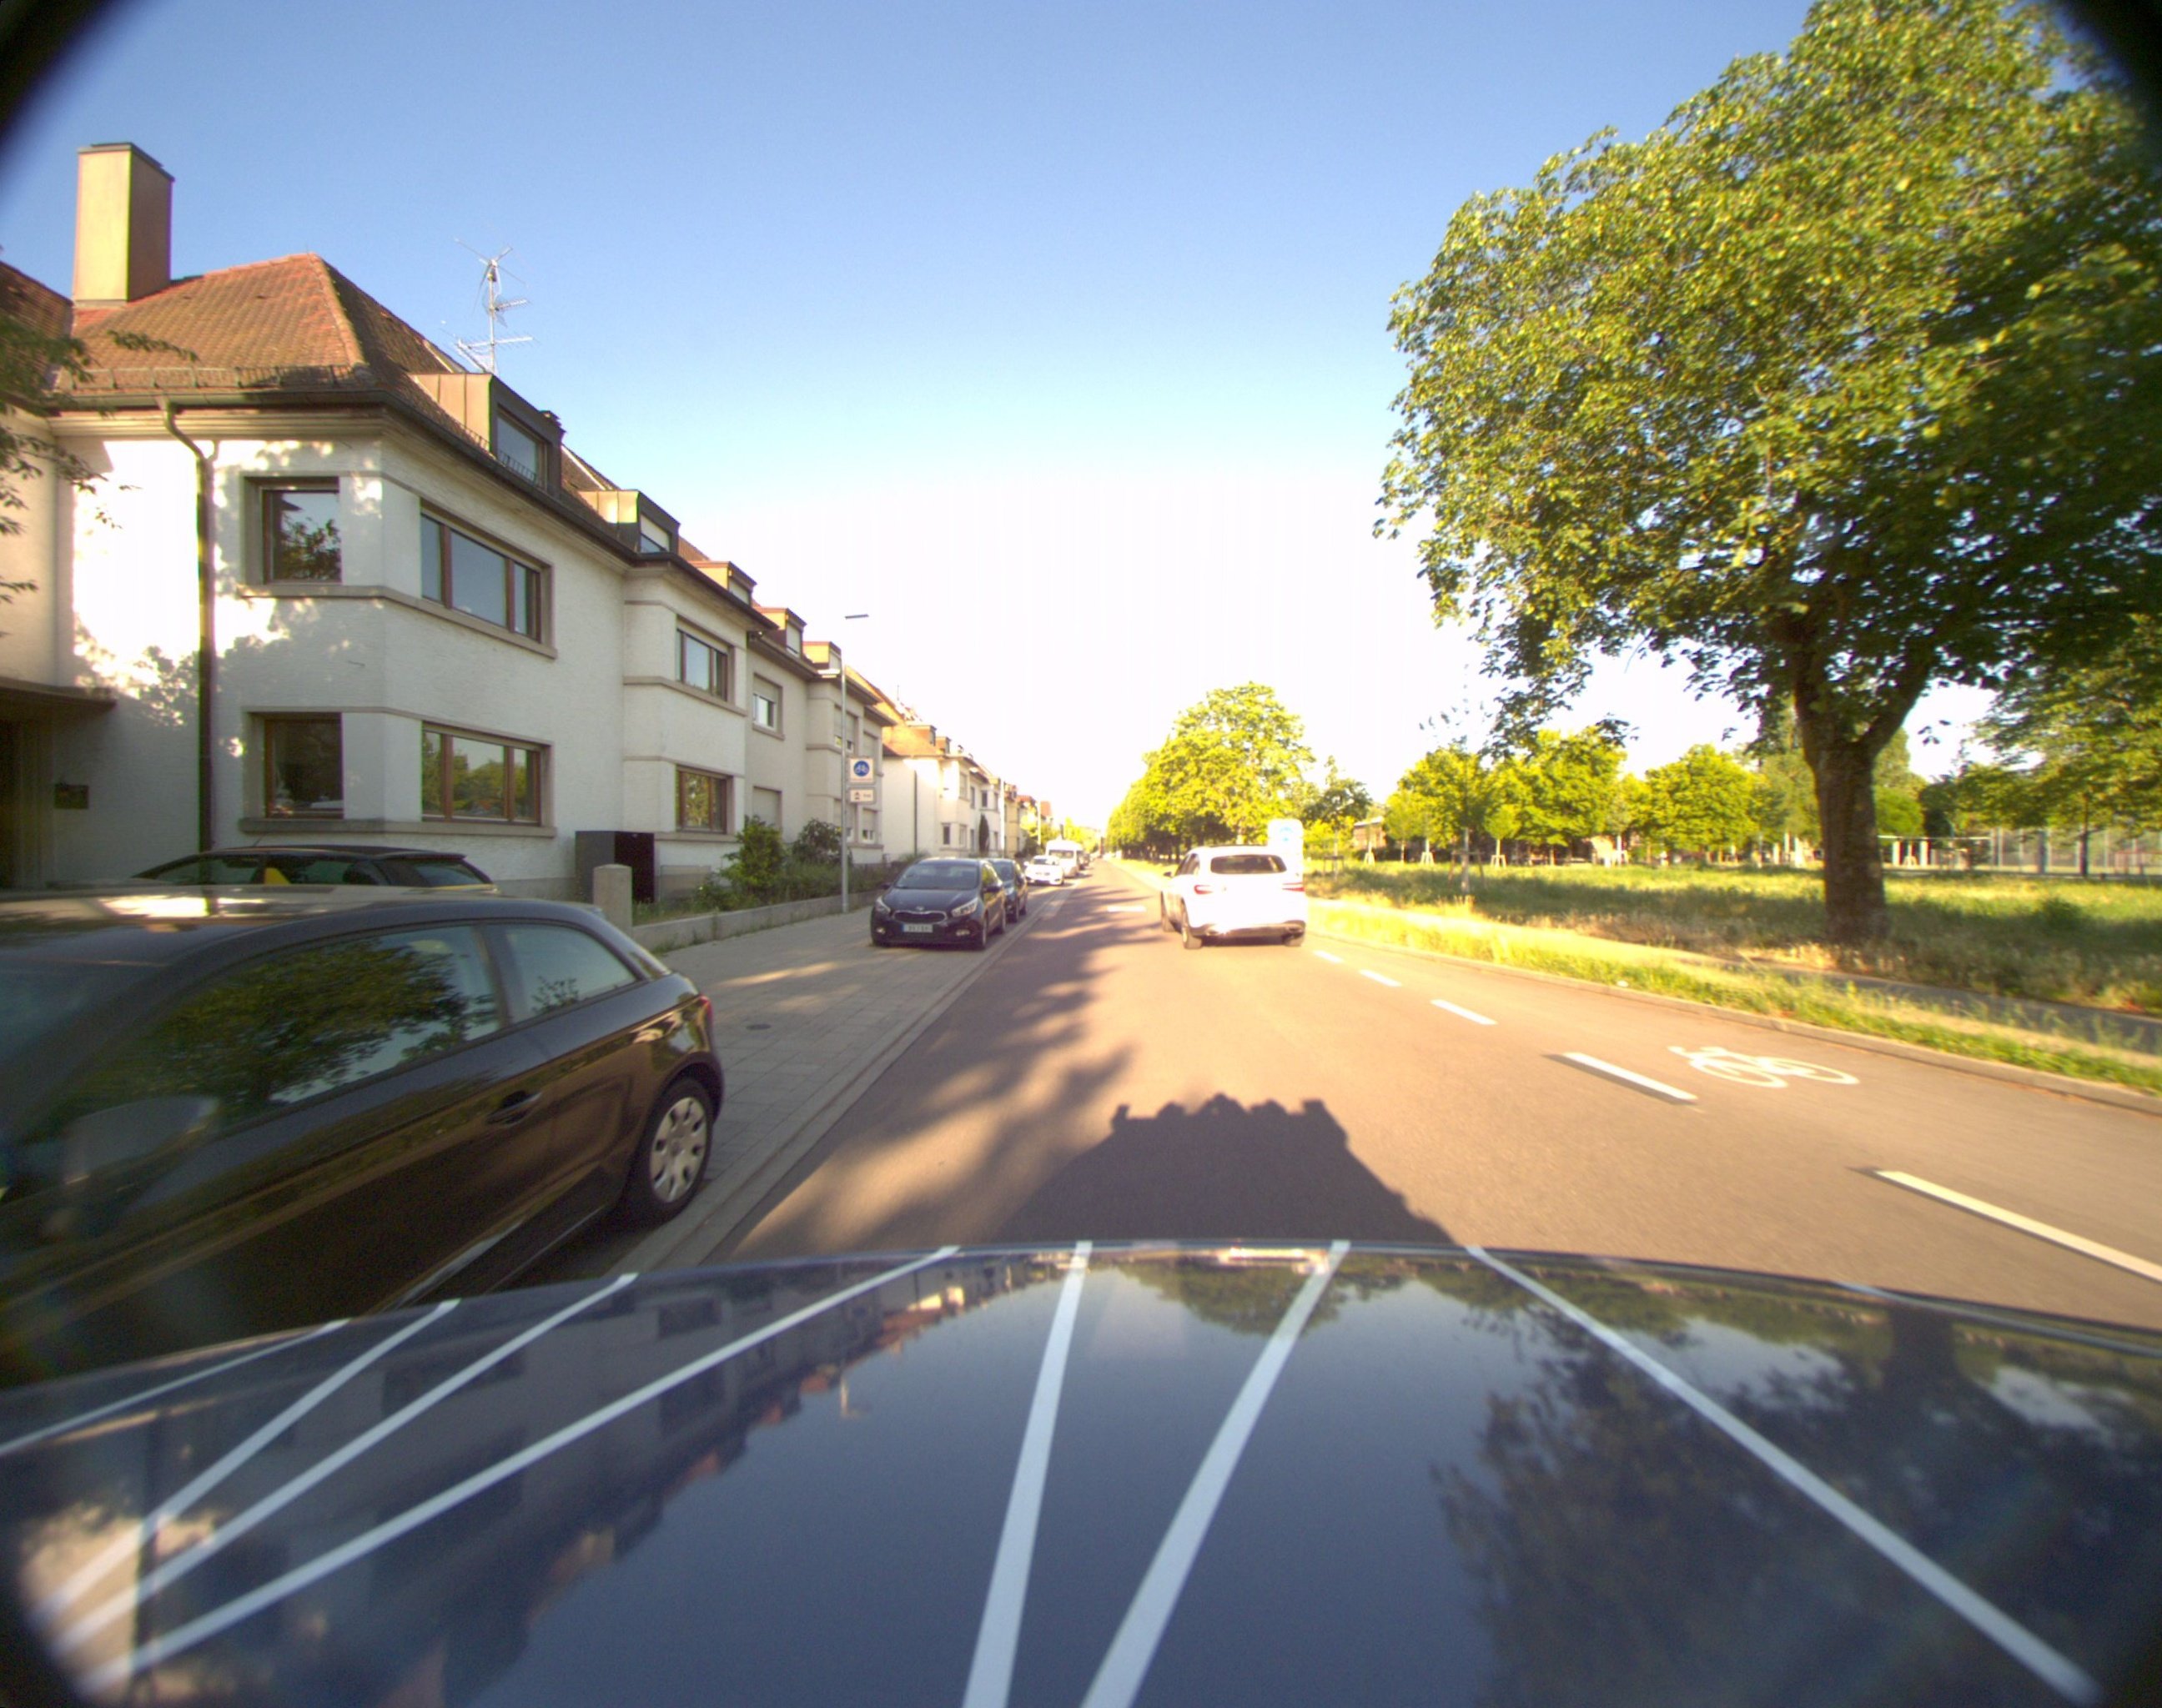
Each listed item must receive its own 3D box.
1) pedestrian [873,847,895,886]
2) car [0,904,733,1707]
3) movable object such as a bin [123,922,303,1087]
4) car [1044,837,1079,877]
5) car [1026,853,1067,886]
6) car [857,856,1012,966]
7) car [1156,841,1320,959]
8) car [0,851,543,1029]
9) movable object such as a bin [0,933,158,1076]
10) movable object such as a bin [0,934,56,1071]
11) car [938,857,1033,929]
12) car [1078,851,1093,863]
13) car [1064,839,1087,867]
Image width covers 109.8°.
[{"bbox_3d":[-10.338,0.636,39.957,1.089,2.002,0.865,-1,1,-14],"label":"pedestrian"},{"bbox_3d":[-2.546,0.987,1.687,1.645,1.419,3.936,2,0,1],"label":"car"},{"bbox_3d":[-6.158,1.040,5.426,0.509,1.037,0.658,-1,1,-4],"label":"movable object such as a bin"},{"bbox_3d":[-1.252,0.172,50.088,2.134,2.503,5.508,1,0,0],"label":"car"},{"bbox_3d":[-1.658,0.732,37.713,1.787,1.498,4.233,-1,1,1],"label":"car"},{"bbox_3d":[-2.345,0.845,13.259,1.750,1.466,4.255,3,0,1],"label":"car"},{"bbox_3d":[2.514,0.659,13.291,1.896,1.667,4.424,-1,0,0],"label":"car"},{"bbox_3d":[-7.874,0.766,7.615,3.644,1.487,1.780,2,1,-2],"label":"car"},{"bbox_3d":[-7.317,1.074,5.550,0.509,0.938,0.502,-1,1,-4],"label":"movable object such as a bin"},{"bbox_3d":[-7.904,1.067,5.409,0.509,0.938,0.490,-1,1,-4],"label":"movable object such as a bin"},{"bbox_3d":[-2.217,0.870,18.591,1.722,1.463,3.983,2,0,1],"label":"car"},{"bbox_3d":[0.635,0.410,107.650,1.974,1.630,4.000,2,0,2],"label":"car"},{"bbox_3d":[-0.575,-0.140,80.693,2.134,2.837,5.987,1,0,2],"label":"car"}]
